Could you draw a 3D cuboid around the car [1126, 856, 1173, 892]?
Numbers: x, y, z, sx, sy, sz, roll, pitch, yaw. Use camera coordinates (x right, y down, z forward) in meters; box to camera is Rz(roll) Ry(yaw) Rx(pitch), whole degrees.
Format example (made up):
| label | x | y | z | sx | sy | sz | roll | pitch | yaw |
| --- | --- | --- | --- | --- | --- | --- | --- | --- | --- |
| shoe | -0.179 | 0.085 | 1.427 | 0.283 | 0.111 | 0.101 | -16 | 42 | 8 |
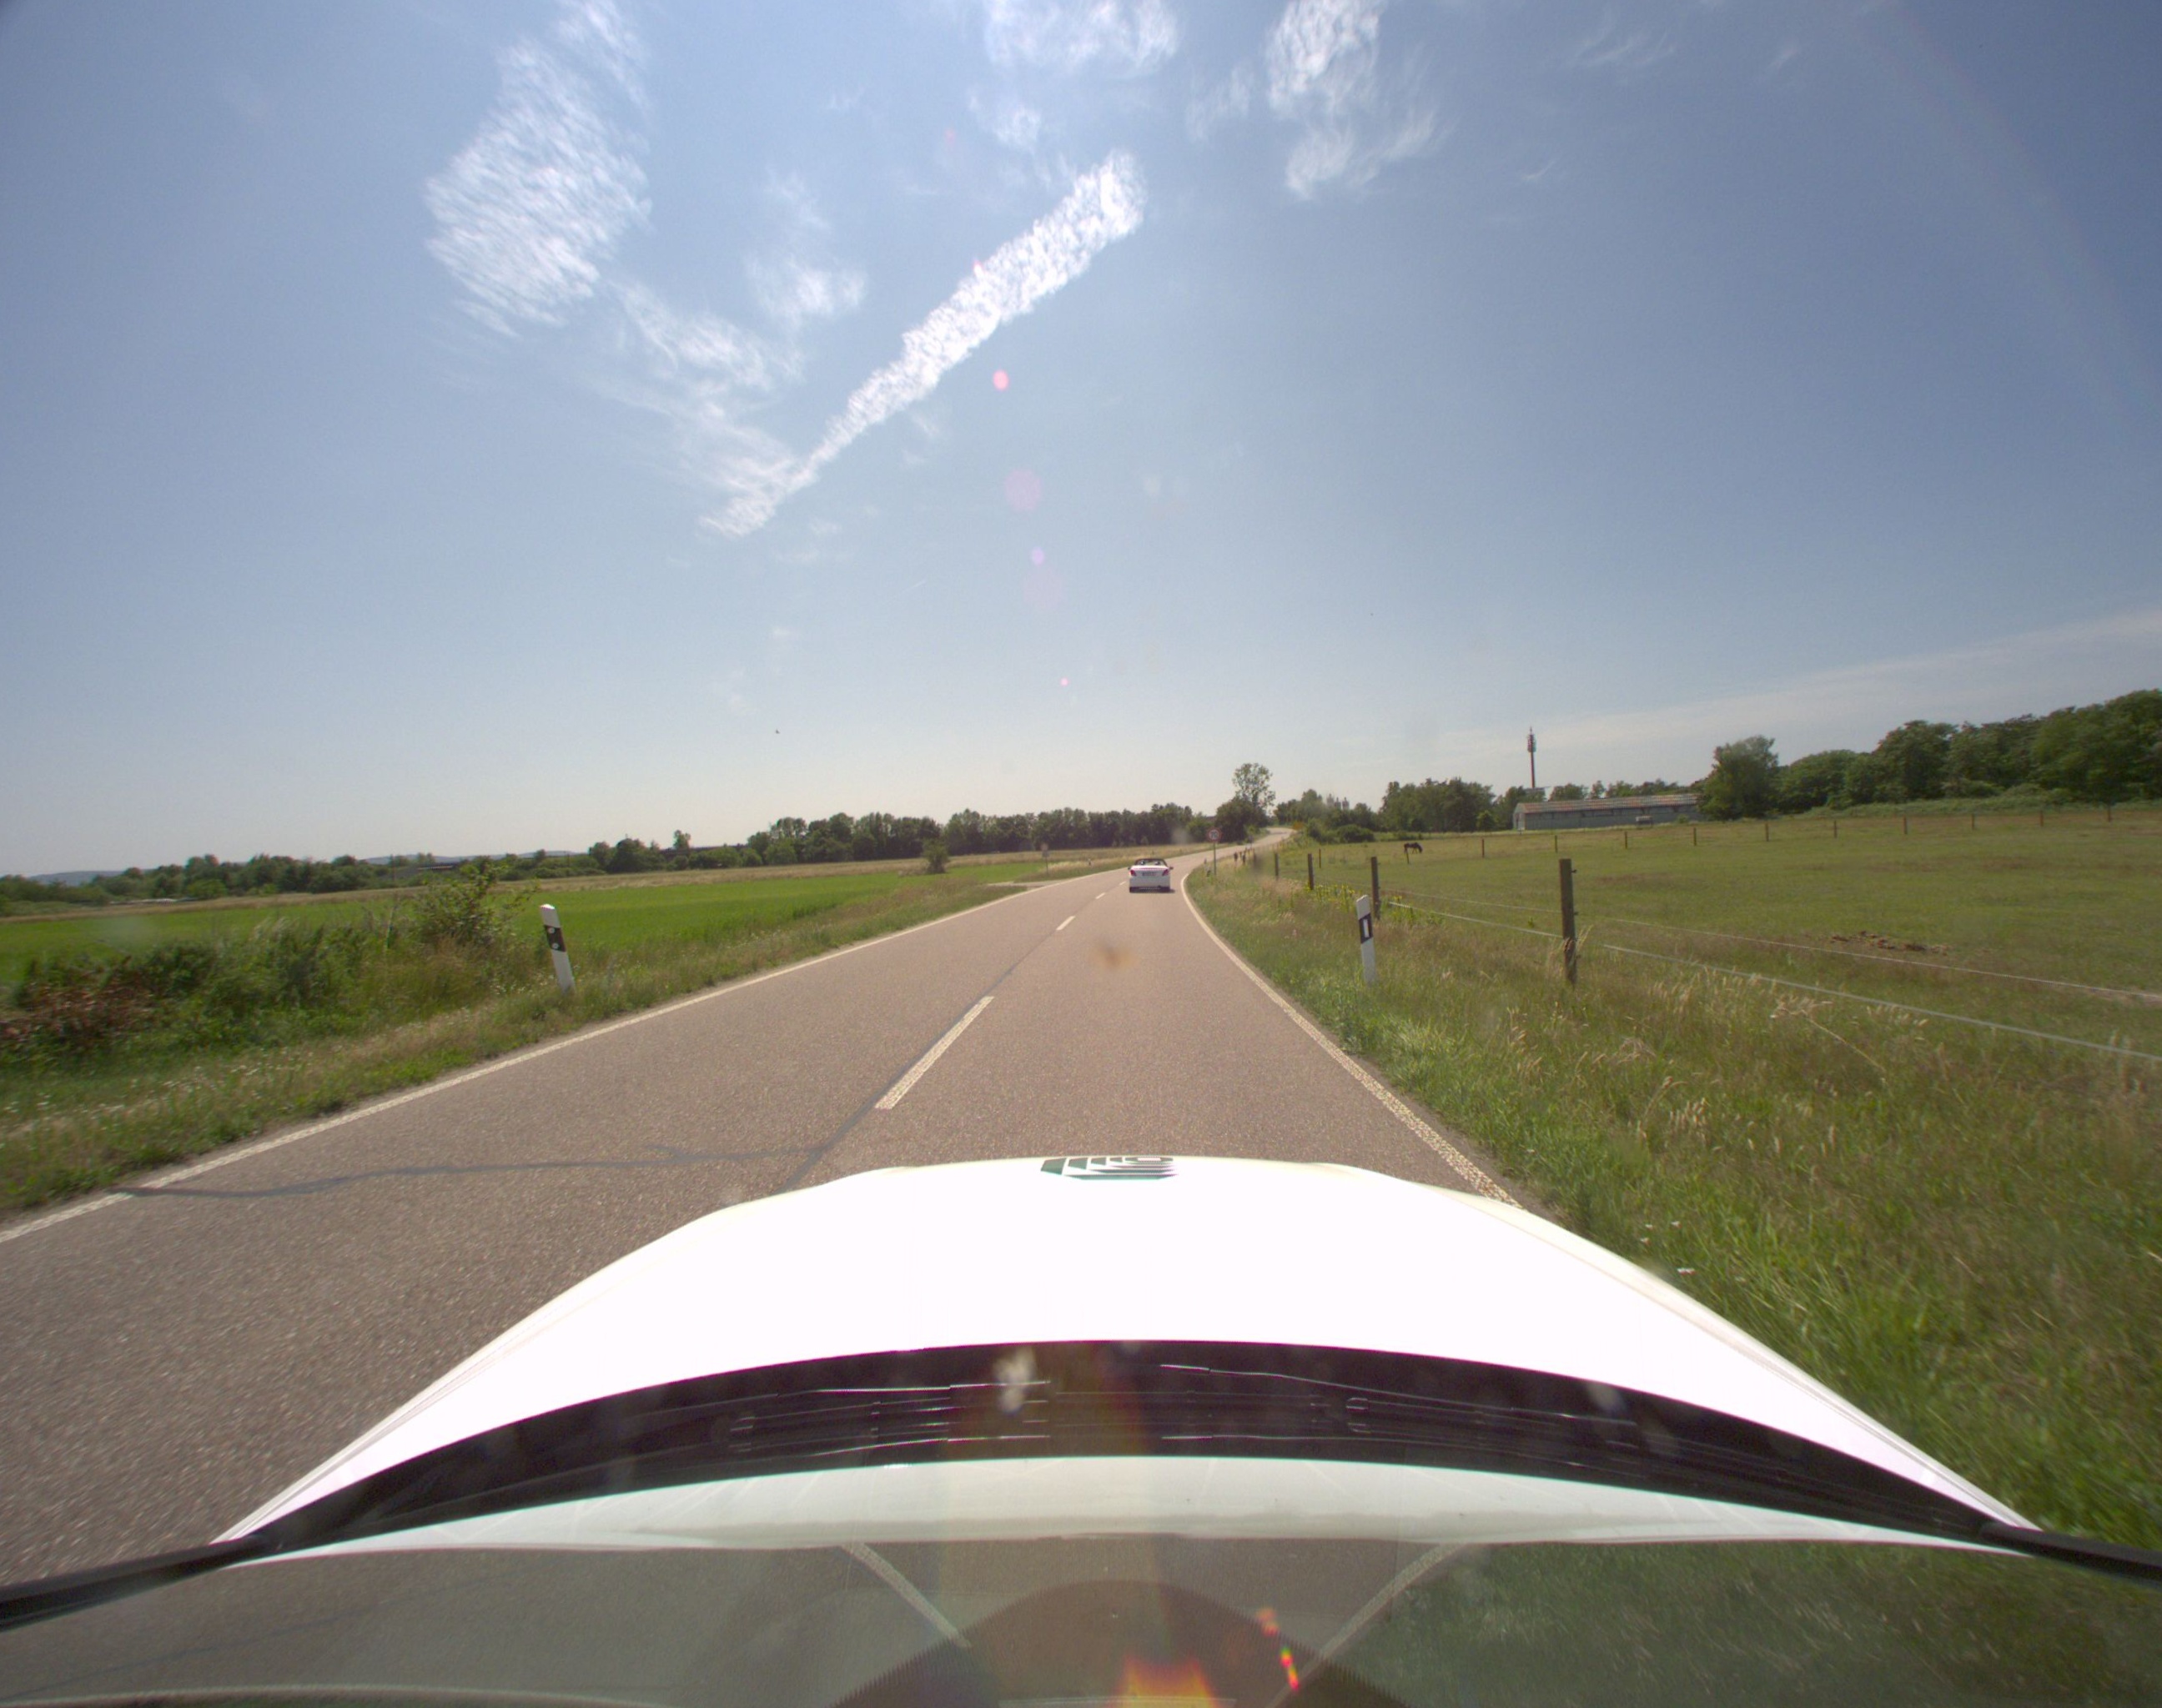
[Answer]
| label | x | y | z | sx | sy | sz | roll | pitch | yaw |
| --- | --- | --- | --- | --- | --- | --- | --- | --- | --- |
| car | 2.930 | 0.830 | 34.758 | 1.842 | 1.379 | 4.006 | -1 | 0 | 5 |
